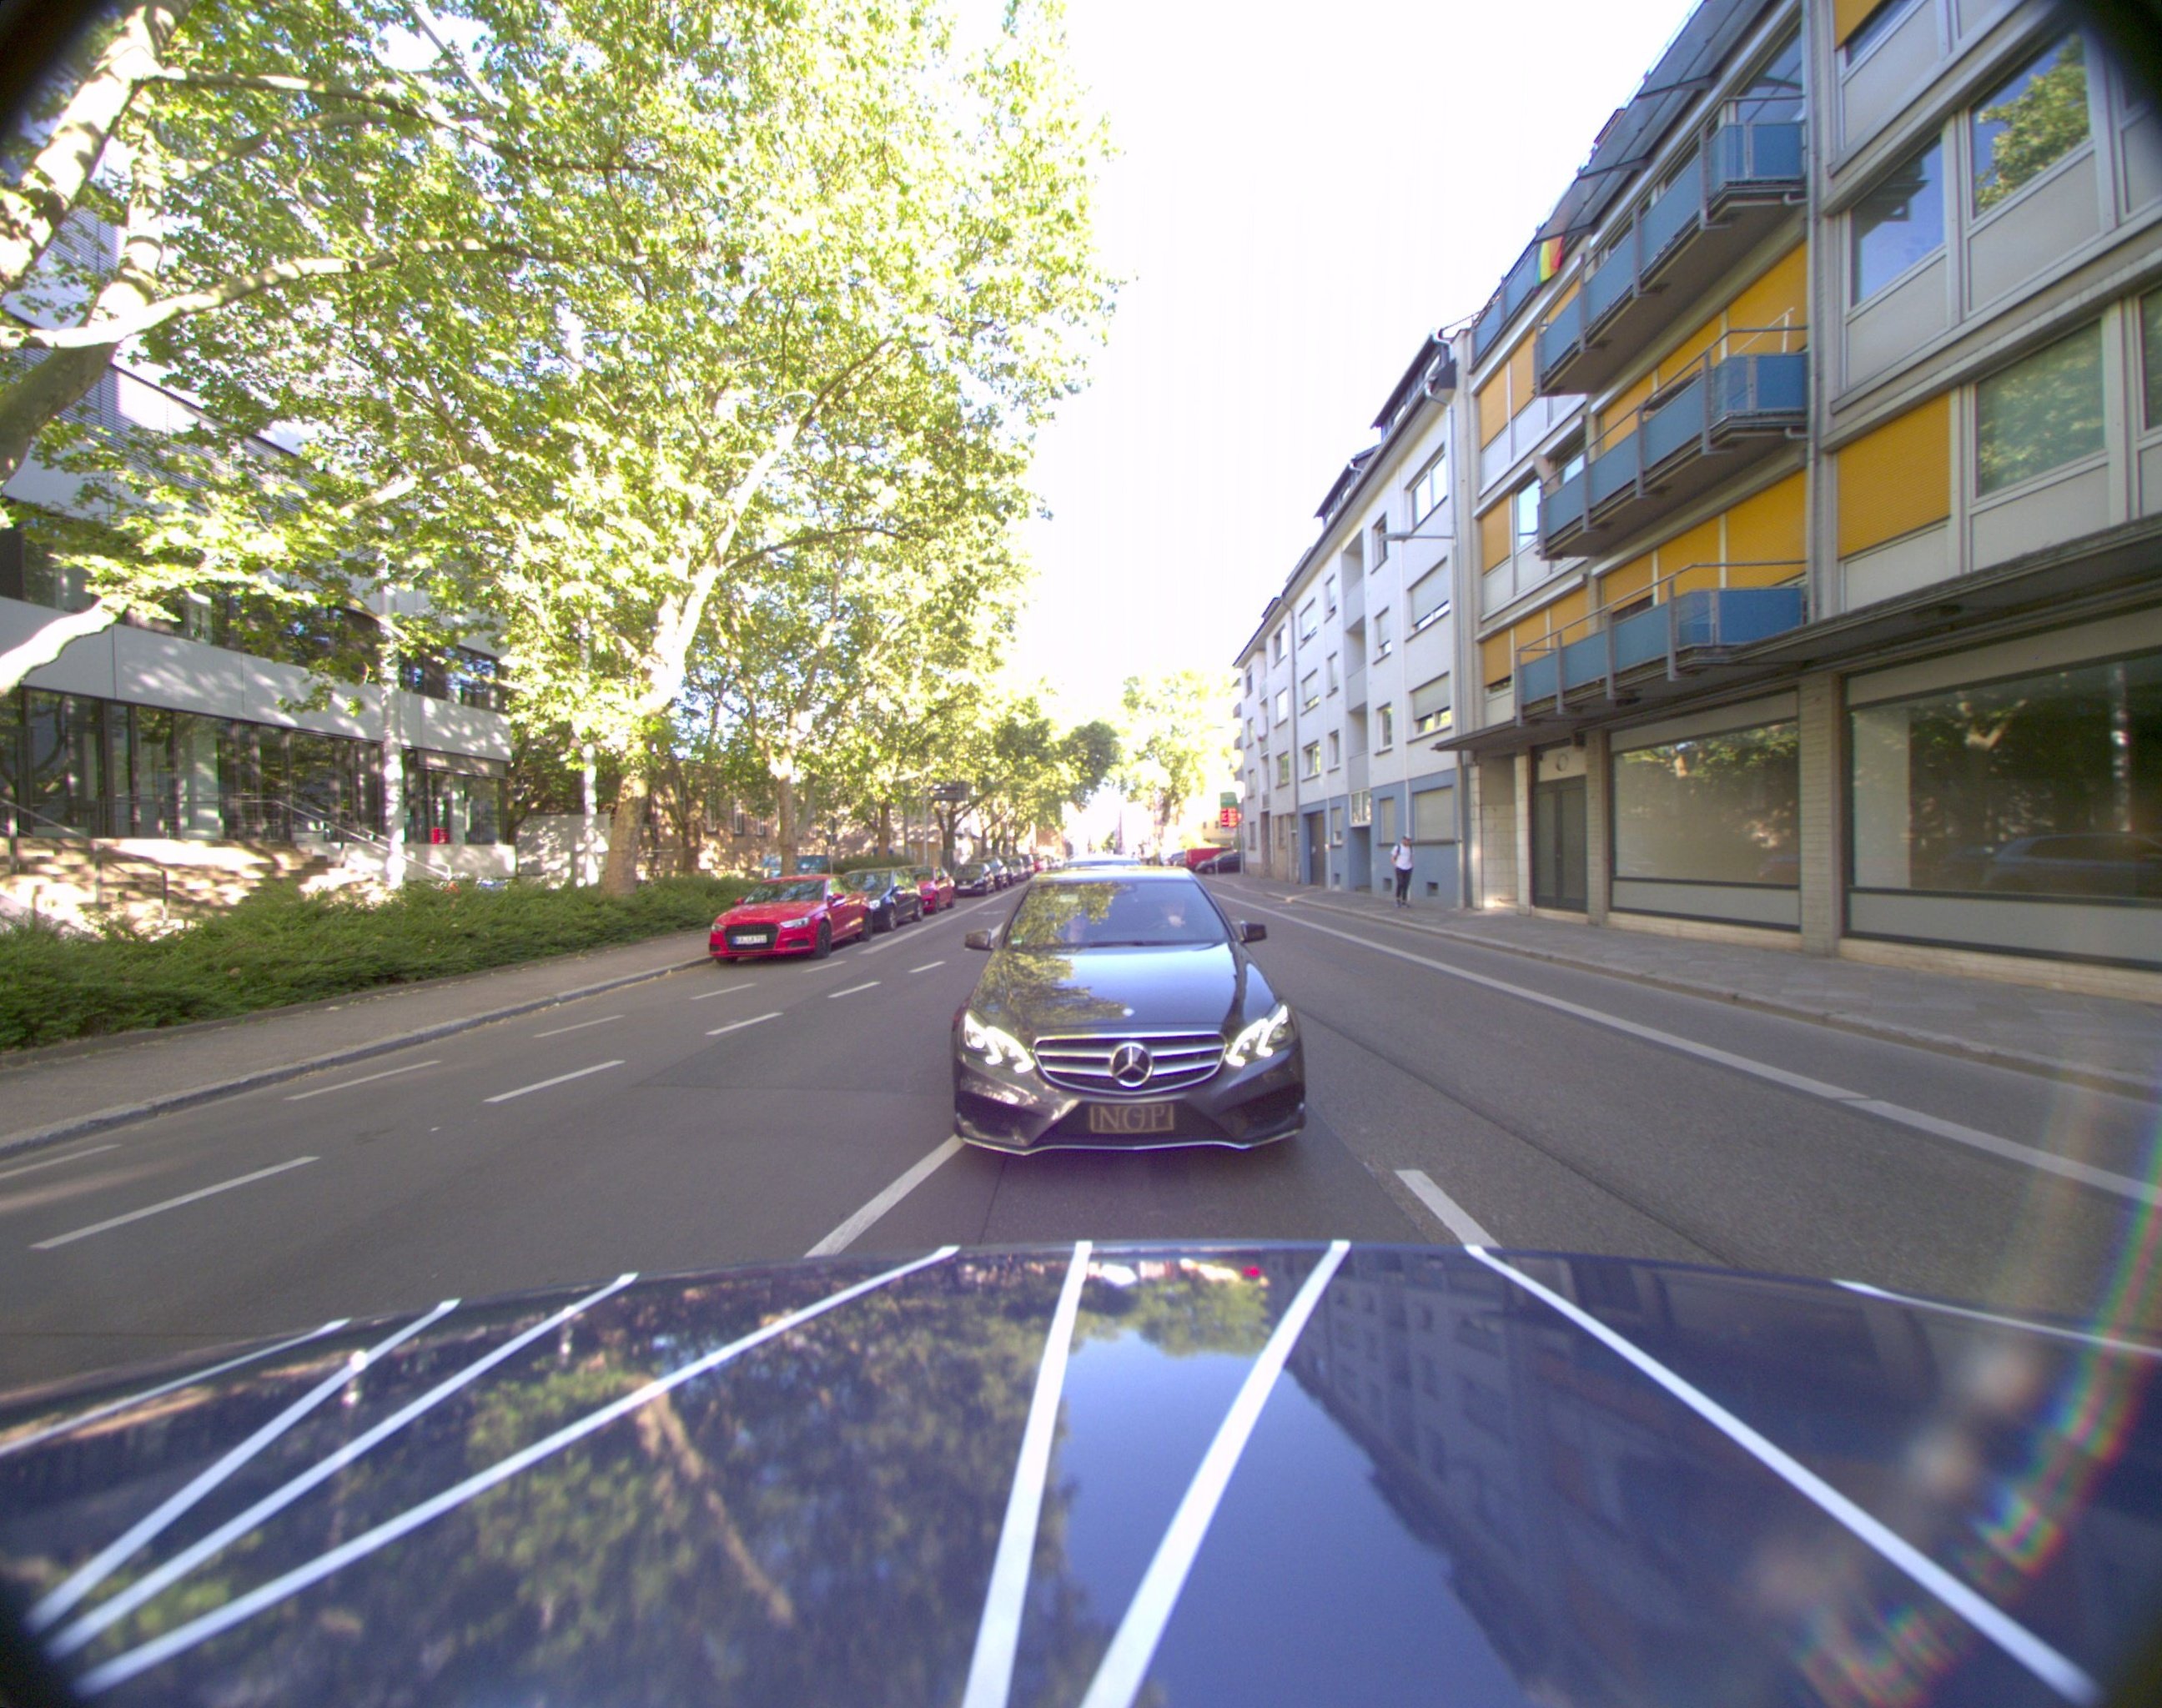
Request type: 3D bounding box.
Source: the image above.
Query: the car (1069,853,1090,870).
[{"bbox_3d":[-0.092,0.660,69.978,1.853,1.455,4.099,-3,0,1],"label":"car"}]

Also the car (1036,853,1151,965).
[{"bbox_3d":[0.218,0.831,13.659,1.680,1.622,4.125,-3,0,1],"label":"car"}]

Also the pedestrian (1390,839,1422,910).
[{"bbox_3d":[8.084,0.504,18.896,0.569,1.716,0.343,-3,1,1],"label":"pedestrian"}]

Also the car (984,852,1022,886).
[{"bbox_3d":[-4.491,0.814,44.156,1.635,1.795,3.845,-3,0,1],"label":"car"}]

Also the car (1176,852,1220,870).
[{"bbox_3d":[9.640,0.572,62.704,3.325,1.241,1.295,-3,0,1],"label":"car"}]

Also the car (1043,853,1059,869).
[{"bbox_3d":[-3.604,0.838,92.197,1.635,1.713,3.673,-3,0,1],"label":"car"}]

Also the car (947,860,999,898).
[{"bbox_3d":[-4.680,1.063,33.290,1.635,1.455,3.740,-3,0,1],"label":"car"}]

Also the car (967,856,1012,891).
[{"bbox_3d":[-4.529,0.936,38.110,1.635,1.578,3.845,-3,0,1],"label":"car"}]

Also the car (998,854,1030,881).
[{"bbox_3d":[-4.427,0.851,50.811,1.635,1.644,3.845,-3,0,1],"label":"car"}]

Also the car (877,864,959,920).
[{"bbox_3d":[-4.997,1.124,23.709,1.635,1.455,3.740,-3,0,1],"label":"car"}]

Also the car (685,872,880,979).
[{"bbox_3d":[-5.151,1.151,13.790,1.804,1.455,4.125,-3,0,1],"label":"car"}]

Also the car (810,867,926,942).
[{"bbox_3d":[-5.014,1.131,18.381,1.635,1.455,3.740,-3,0,1],"label":"car"}]

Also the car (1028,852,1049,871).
[{"bbox_3d":[-3.942,0.672,70.588,1.635,1.713,3.673,-3,0,1],"label":"car"}]

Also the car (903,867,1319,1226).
[{"bbox_3d":[0.165,0.908,5.489,1.804,1.455,4.125,-3,0,1],"label":"car"}]

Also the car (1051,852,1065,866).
[{"bbox_3d":[-3.047,0.694,102.815,1.635,1.713,3.673,-3,0,1],"label":"car"}]

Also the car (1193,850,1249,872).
[{"bbox_3d":[10.071,0.505,54.745,3.670,1.403,1.636,-3,0,1],"label":"car"}]

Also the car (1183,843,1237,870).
[{"bbox_3d":[10.154,0.206,60.044,3.927,1.912,1.636,-3,1,1],"label":"car"}]

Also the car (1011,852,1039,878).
[{"bbox_3d":[-4.092,0.778,55.531,1.635,1.799,3.673,-3,0,1],"label":"car"}]

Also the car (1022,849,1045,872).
[{"bbox_3d":[-4.132,0.578,66.230,1.635,1.878,3.673,-3,0,1],"label":"car"}]

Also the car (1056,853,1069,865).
[{"bbox_3d":[-2.685,0.712,109.674,1.635,1.713,3.673,-3,0,1],"label":"car"}]

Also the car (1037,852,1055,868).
[{"bbox_3d":[-3.949,0.646,86.200,1.635,1.713,3.673,-3,0,1],"label":"car"}]

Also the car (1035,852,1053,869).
[{"bbox_3d":[-3.937,0.682,82.121,1.635,1.713,3.673,-3,0,1],"label":"car"}]
